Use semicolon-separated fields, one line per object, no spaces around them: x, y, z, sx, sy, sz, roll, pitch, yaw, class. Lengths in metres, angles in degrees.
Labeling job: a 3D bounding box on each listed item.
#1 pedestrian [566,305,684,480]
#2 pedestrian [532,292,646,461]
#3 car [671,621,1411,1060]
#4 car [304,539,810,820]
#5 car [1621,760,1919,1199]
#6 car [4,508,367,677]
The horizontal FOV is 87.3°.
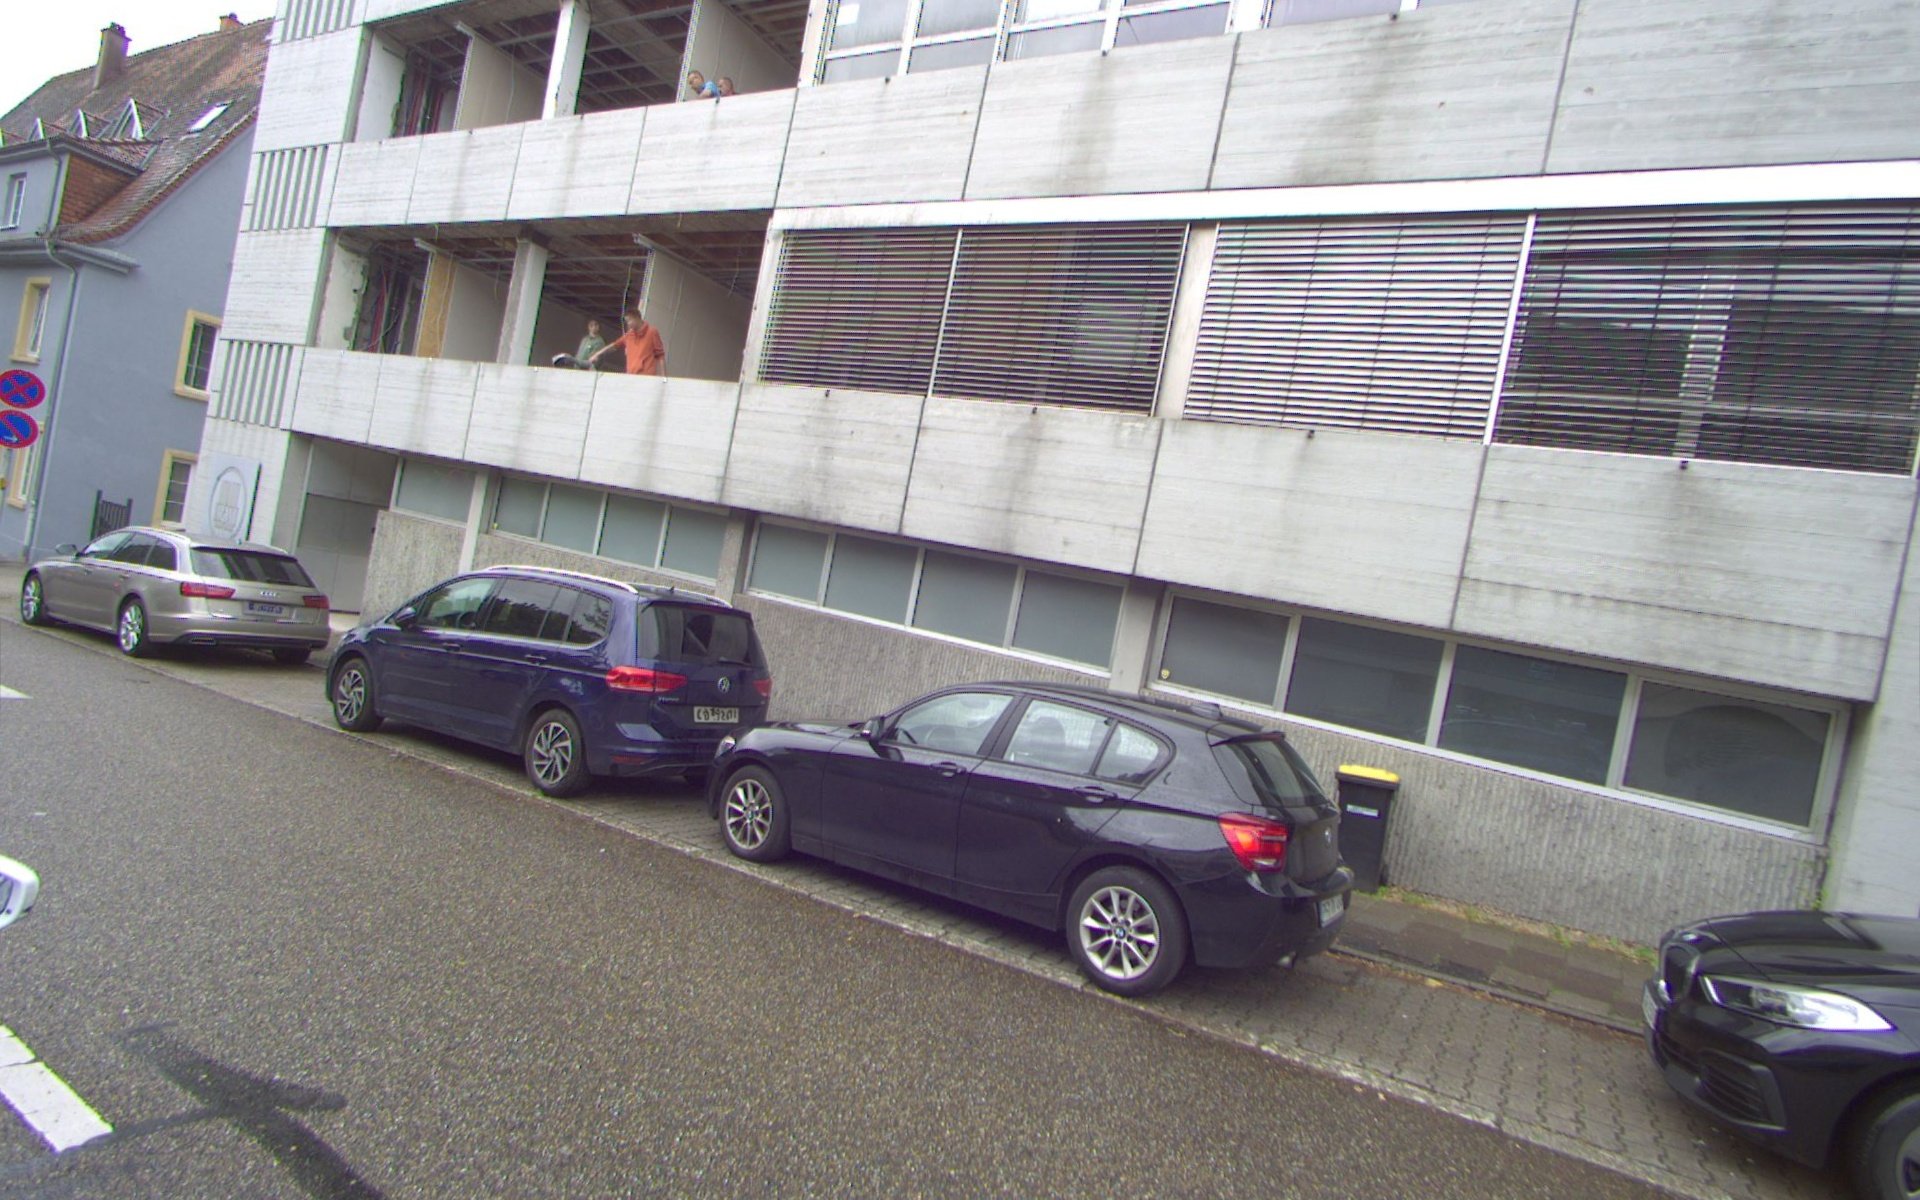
-4.413;-2.698;13.282;0.847;2.036;0.909;6;-2;31;pedestrian
-5.101;-3.040;13.866;0.847;2.036;0.909;6;-2;31;pedestrian
0.340;1.161;6.301;4.183;1.465;1.750;7;-1;34;car
-3.526;0.562;8.641;4.090;1.618;1.732;7;-1;30;car
5.092;1.764;3.523;4.367;1.453;1.996;7;1;30;car
-9.801;-0.116;12.665;4.449;1.465;1.967;7;-1;30;car
